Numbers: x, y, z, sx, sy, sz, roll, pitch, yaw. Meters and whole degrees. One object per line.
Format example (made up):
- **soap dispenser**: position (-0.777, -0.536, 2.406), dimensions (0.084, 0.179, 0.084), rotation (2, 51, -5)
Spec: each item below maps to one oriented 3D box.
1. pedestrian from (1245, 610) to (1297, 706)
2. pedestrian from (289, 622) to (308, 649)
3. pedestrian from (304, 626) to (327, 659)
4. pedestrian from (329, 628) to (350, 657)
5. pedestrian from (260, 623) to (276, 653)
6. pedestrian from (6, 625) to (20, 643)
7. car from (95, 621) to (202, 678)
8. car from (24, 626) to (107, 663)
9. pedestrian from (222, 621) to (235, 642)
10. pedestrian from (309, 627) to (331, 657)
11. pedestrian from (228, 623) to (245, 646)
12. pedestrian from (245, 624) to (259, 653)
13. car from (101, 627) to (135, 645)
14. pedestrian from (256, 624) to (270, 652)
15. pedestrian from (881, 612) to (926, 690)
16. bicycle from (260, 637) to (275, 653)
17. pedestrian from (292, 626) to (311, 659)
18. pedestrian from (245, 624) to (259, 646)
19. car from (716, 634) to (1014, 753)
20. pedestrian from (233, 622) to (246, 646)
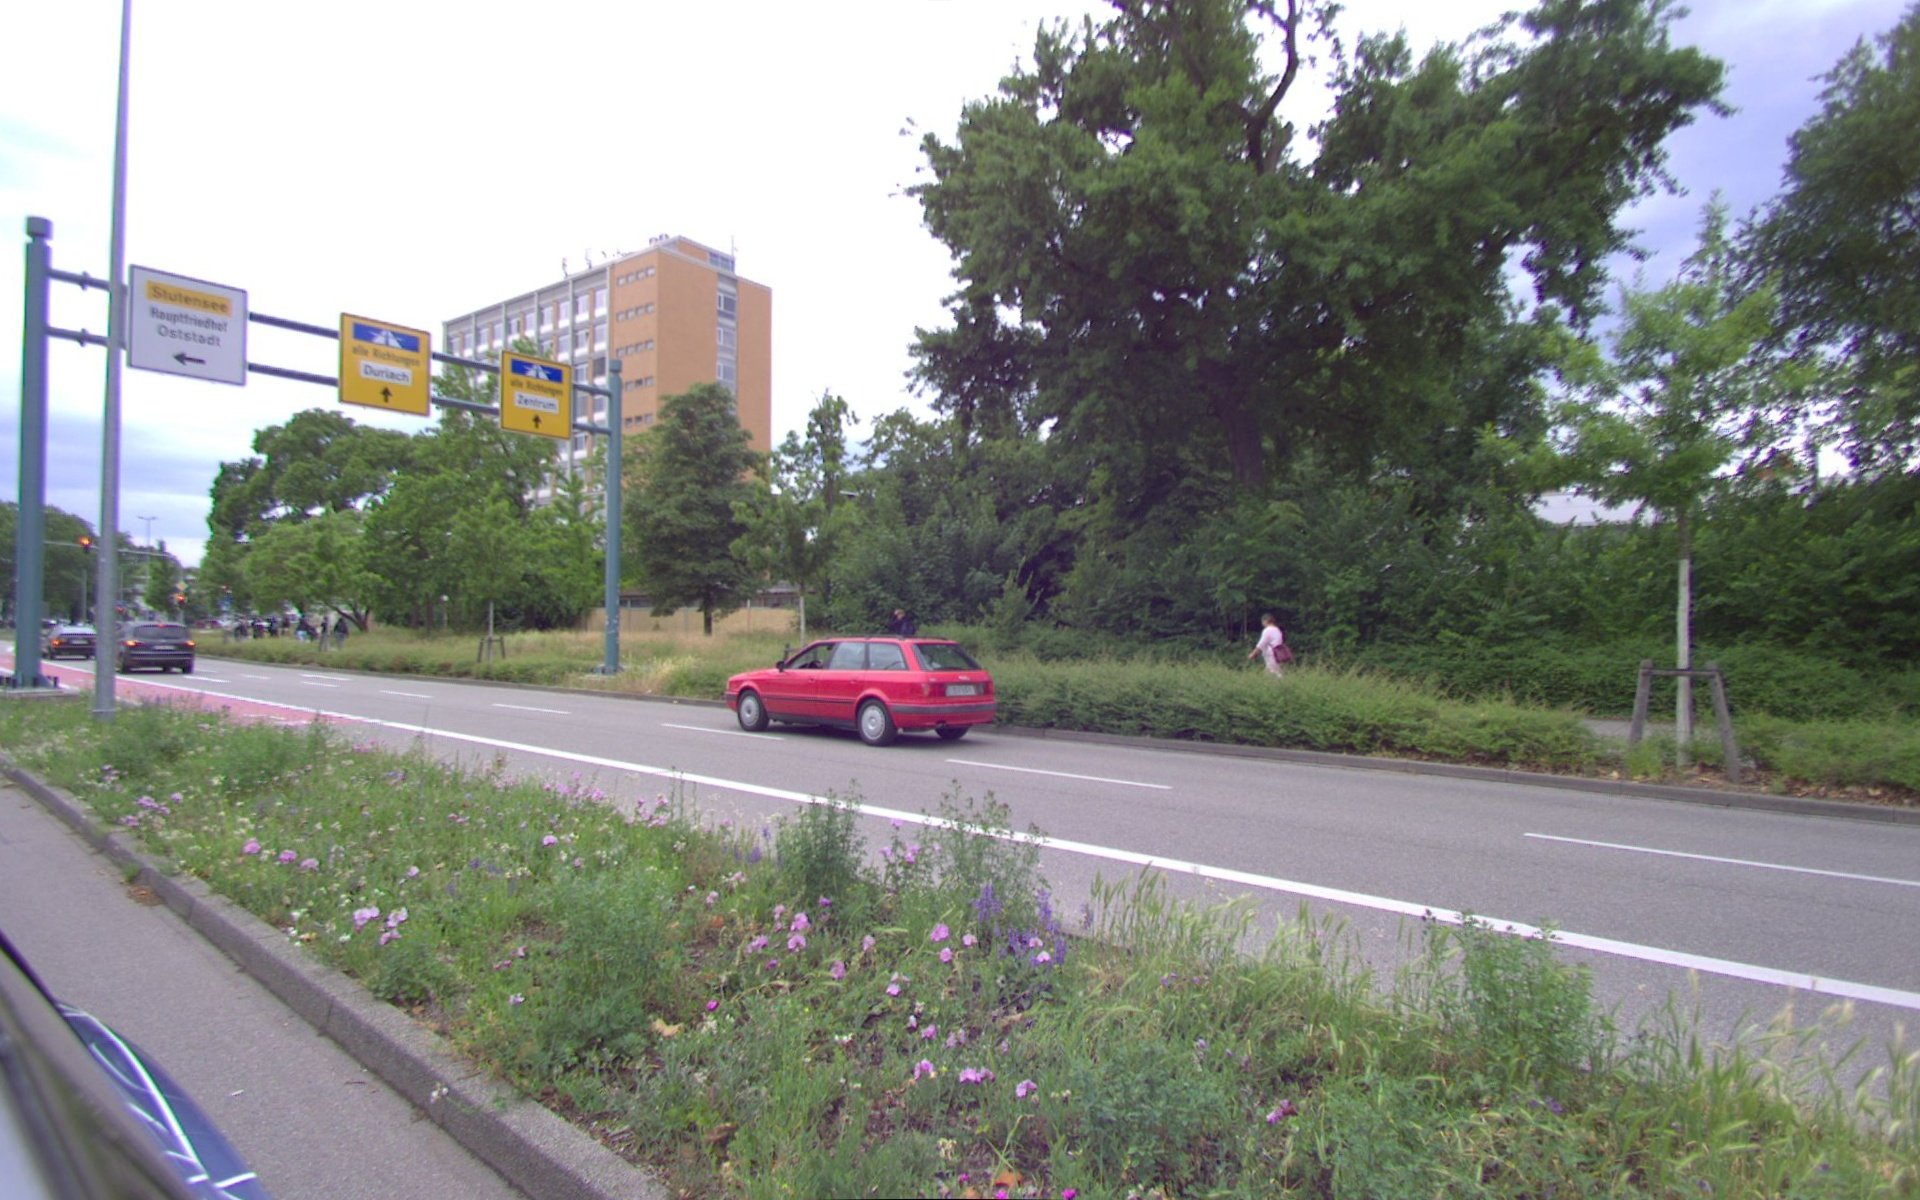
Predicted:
- **pedestrian**: position (5.511, 1.023, 17.941), dimensions (0.671, 1.648, 0.693), rotation (-2, -4, 41)
- **pedestrian**: position (-40.331, 2.183, 61.712), dimensions (0.823, 1.625, 0.631), rotation (-2, -1, 19)
- **pedestrian**: position (-33.896, 2.238, 53.235), dimensions (0.766, 1.685, 0.700), rotation (-1, -4, 35)
- **pedestrian**: position (-29.570, 2.014, 48.231), dimensions (0.680, 1.373, 0.638), rotation (-2, -4, 39)
- **pedestrian**: position (-38.761, 2.133, 56.701), dimensions (0.652, 1.644, 0.765), rotation (3, -4, -34)
- **pedestrian**: position (-110.780, 3.993, 118.411), dimensions (0.972, 2.029, 0.910), rotation (3, -4, -36)
- **car**: position (-26.038, 1.566, 32.419), dimensions (4.397, 1.677, 1.900), rotation (-1, -3, 41)
- **car**: position (-37.719, 1.861, 42.631), dimensions (4.785, 1.471, 1.747), rotation (-1, -4, 38)
- **pedestrian**: position (-58.554, 2.541, 81.001), dimensions (0.890, 1.683, 0.698), rotation (-2, -1, 45)
- **pedestrian**: position (-30.155, 1.980, 47.711), dimensions (0.711, 1.368, 0.638), rotation (-2, -4, 40)
- **pedestrian**: position (-49.234, 2.344, 68.863), dimensions (0.813, 1.491, 0.720), rotation (-2, -4, 44)
- **pedestrian**: position (-39.497, 2.135, 56.430), dimensions (0.567, 1.621, 0.618), rotation (3, -4, -33)
- **car**: position (-85.548, 3.635, 102.882), dimensions (1.785, 1.680, 3.962), rotation (2, -2, -27)
- **pedestrian**: position (-43.846, 2.382, 63.662), dimensions (0.570, 1.725, 0.764), rotation (2, -3, -28)
- **pedestrian**: position (-1.299, 1.174, 23.224), dimensions (0.818, 1.742, 0.613), rotation (-2, -4, 41)
- **bicycle**: position (-38.766, 2.530, 56.681), dimensions (0.652, 0.894, 1.719), rotation (3, -3, -34)
- **pedestrian**: position (-34.277, 2.206, 52.679), dimensions (0.719, 1.673, 0.580), rotation (-1, -4, 35)
- **pedestrian**: position (-48.773, 2.392, 69.710), dimensions (0.762, 1.491, 0.628), rotation (-2, -4, 44)
- **car**: position (-1.440, 1.205, 14.241), dimensions (4.292, 1.429, 1.696), rotation (-2, -3, 41)
- **pedestrian**: position (-55.125, 2.581, 77.413), dimensions (0.762, 1.815, 0.630), rotation (-2, -3, 44)
